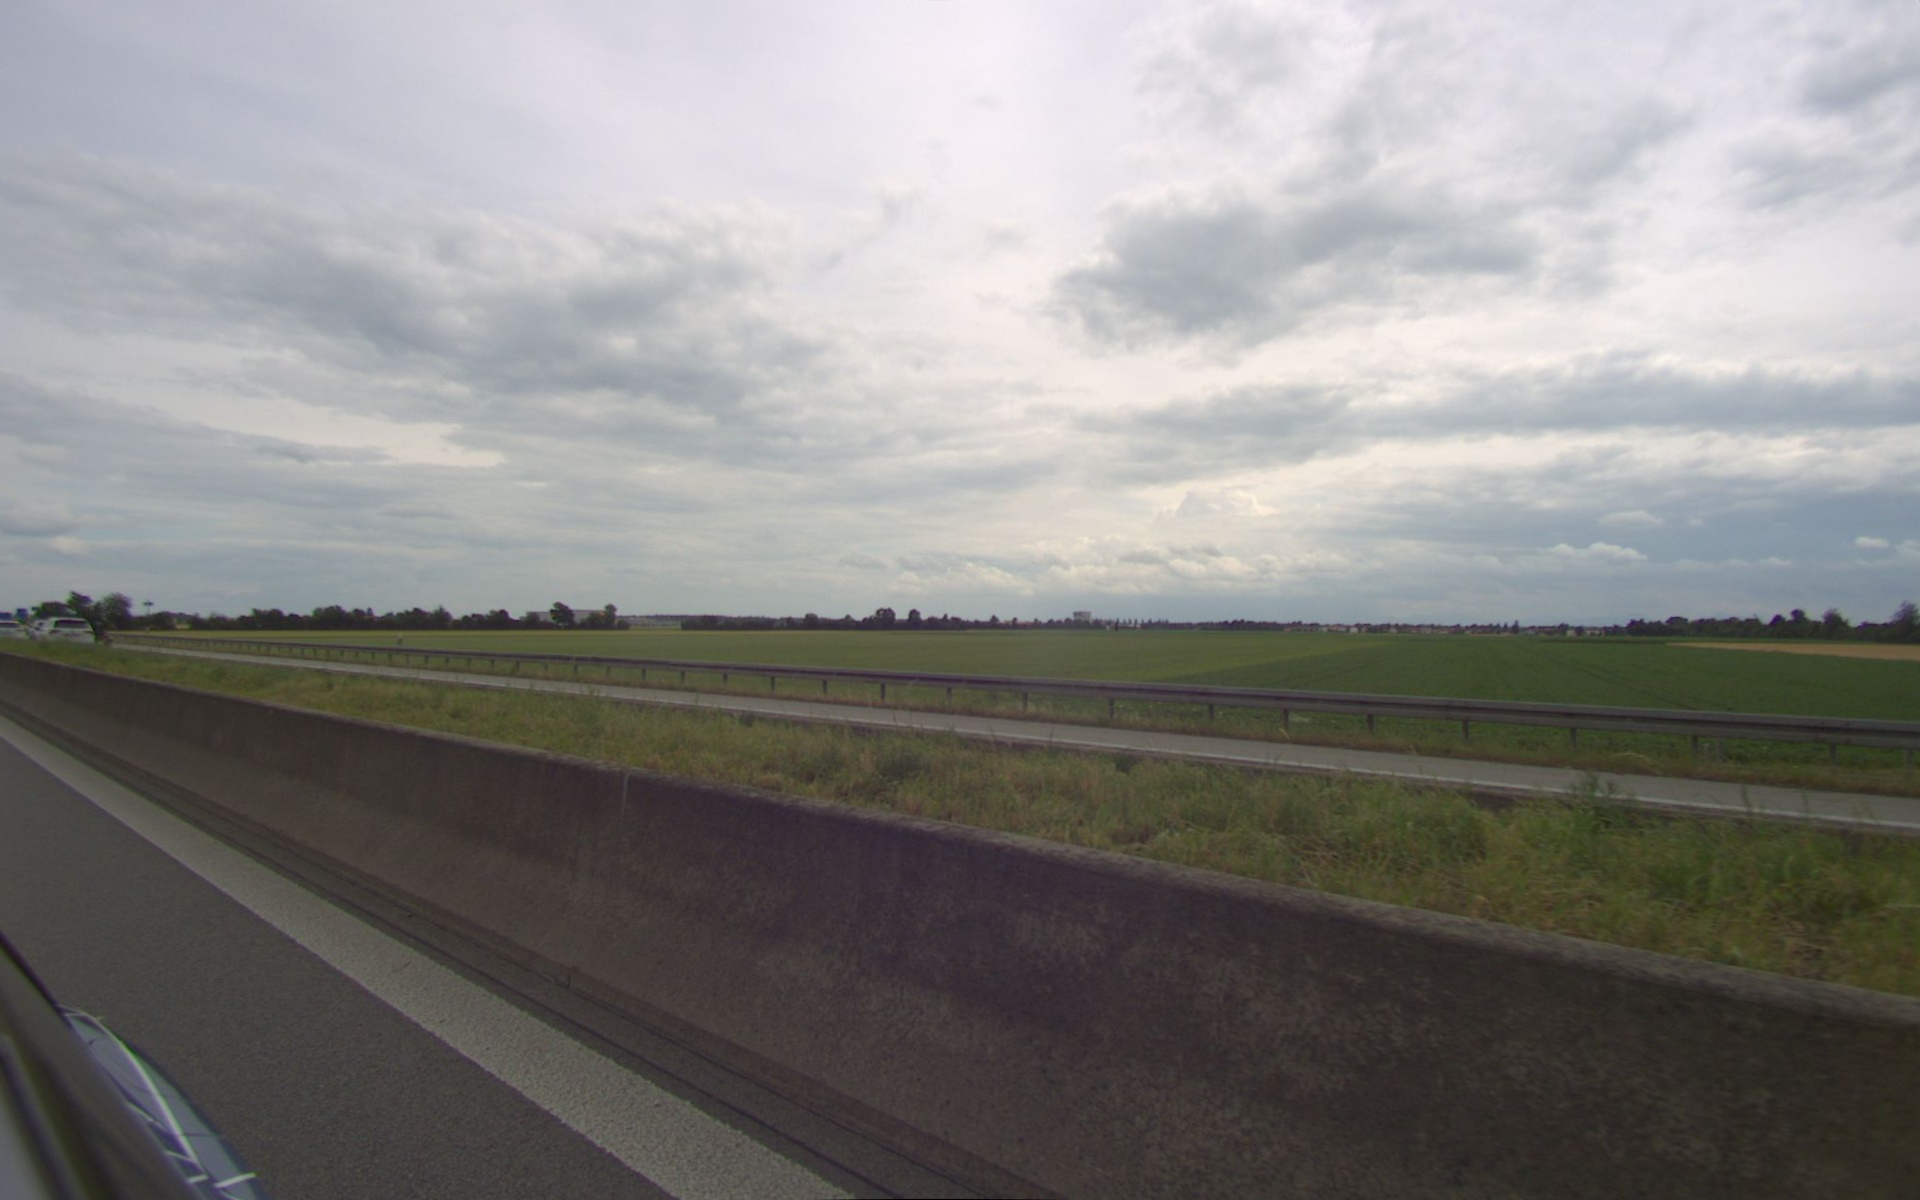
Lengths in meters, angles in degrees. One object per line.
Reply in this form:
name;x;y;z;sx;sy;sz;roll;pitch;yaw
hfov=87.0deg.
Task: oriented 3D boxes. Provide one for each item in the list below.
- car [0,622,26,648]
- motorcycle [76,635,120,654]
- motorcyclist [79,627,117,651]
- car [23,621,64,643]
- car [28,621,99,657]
car;-59.830;2.148;63.054;4.987;1.586;1.846;-1;-3;41
motorcycle;-51.830;2.675;60.841;2.981;1.086;1.550;-1;-3;42
motorcyclist;-51.809;2.341;60.846;1.252;1.382;1.550;-1;-3;41
car;-71.310;2.482;78.690;4.689;1.639;1.816;-1;-3;42
car;-42.446;1.837;47.893;4.690;1.586;1.846;-1;-3;41
